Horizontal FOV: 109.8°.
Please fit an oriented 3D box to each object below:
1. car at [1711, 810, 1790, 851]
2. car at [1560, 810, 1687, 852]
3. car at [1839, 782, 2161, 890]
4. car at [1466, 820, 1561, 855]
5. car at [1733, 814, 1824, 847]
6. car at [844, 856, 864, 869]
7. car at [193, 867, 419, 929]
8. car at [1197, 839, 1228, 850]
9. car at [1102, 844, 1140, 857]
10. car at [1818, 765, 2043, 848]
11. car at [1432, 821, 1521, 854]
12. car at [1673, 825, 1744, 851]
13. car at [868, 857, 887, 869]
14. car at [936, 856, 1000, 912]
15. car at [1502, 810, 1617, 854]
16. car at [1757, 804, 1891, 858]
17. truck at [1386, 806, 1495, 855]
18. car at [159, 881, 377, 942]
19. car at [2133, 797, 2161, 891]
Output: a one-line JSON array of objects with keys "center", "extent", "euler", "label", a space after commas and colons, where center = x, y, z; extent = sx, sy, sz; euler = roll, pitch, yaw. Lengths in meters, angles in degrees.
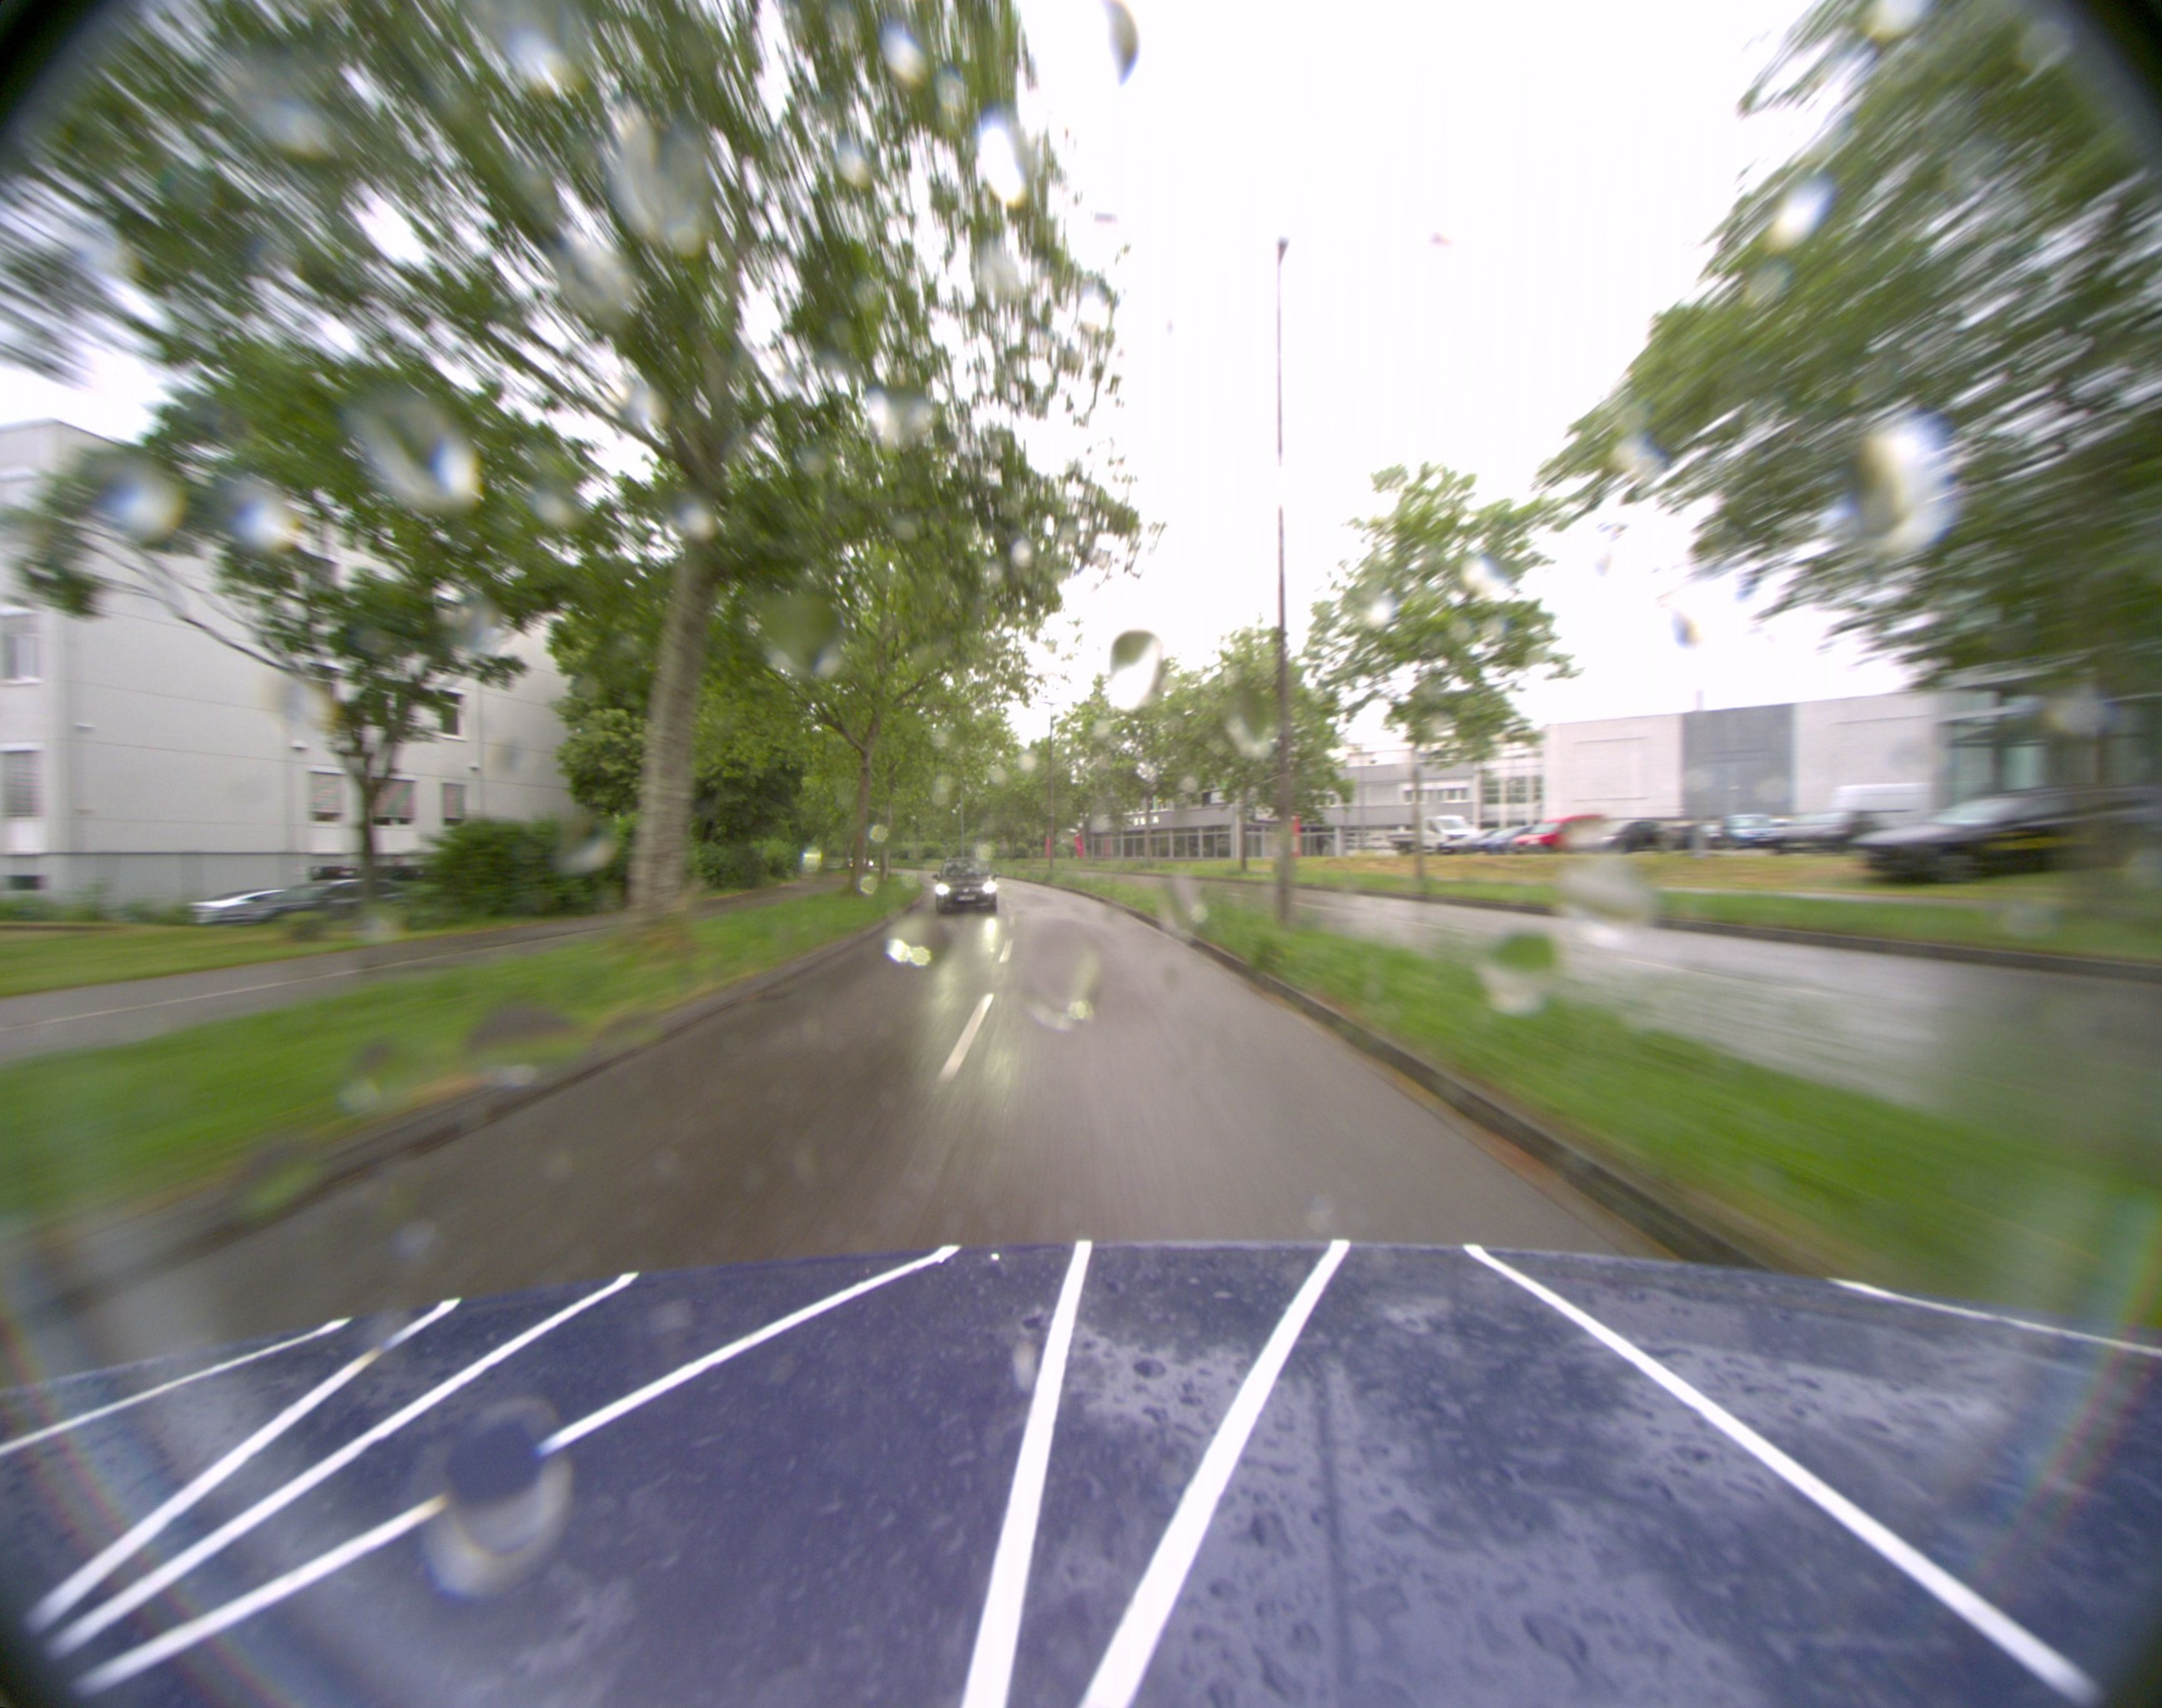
[{"center": [32.122, -1.129, 36.595], "extent": [1.816, 1.754, 4.661], "euler": [-2, 1, 28], "label": "car"}, {"center": [21.794, -0.899, 30.567], "extent": [4.009, 1.349, 1.846], "euler": [-4, 0, -11], "label": "car"}, {"center": [19.543, -0.365, 16.108], "extent": [4.428, 1.548, 1.849], "euler": [-9, 1, 23], "label": "car"}, {"center": [20.309, -0.760, 35.714], "extent": [3.534, 1.319, 1.767], "euler": [-4, 0, -11], "label": "car"}, {"center": [40.585, -1.313, 44.358], "extent": [1.766, 1.718, 4.159], "euler": [-3, -1, 7], "label": "car"}, {"center": [-28.930, 1.042, 96.892], "extent": [1.787, 1.546, 3.991], "euler": [-1, 1, -26], "label": "car"}, {"center": [-21.861, 1.177, 21.690], "extent": [1.781, 1.467, 4.116], "euler": [-2, 0, 14], "label": "car"}, {"center": [23.401, -1.643, 135.407], "extent": [5.216, 1.853, 1.797], "euler": [0, 1, 37], "label": "car"}, {"center": [4.814, -0.443, 91.495], "extent": [4.208, 1.486, 1.595], "euler": [-1, 1, -18], "label": "car"}, {"center": [32.347, -1.728, 29.236], "extent": [5.325, 2.736, 2.174], "euler": [-2, 1, 31], "label": "car"}, {"center": [19.835, -0.814, 38.161], "extent": [3.534, 1.319, 1.767], "euler": [-4, 0, -11], "label": "car"}, {"center": [37.869, -0.945, 45.972], "extent": [1.765, 1.388, 4.162], "euler": [-3, -1, 17], "label": "car"}, {"center": [-28.049, 1.206, 104.718], "extent": [1.788, 1.546, 3.991], "euler": [-2, 1, -27], "label": "car"}, {"center": [-3.474, 0.872, 23.867], "extent": [1.785, 1.546, 3.997], "euler": [-1, 1, -7], "label": "car"}, {"center": [20.891, -0.954, 33.259], "extent": [4.009, 1.548, 1.846], "euler": [-4, 0, -11], "label": "car"}, {"center": [23.002, -0.713, 23.507], "extent": [4.014, 1.349, 1.844], "euler": [-4, 0, -29], "label": "car"}, {"center": [19.986, -1.213, 42.690], "extent": [2.254, 2.331, 6.189], "euler": [-4, 0, -10], "label": "truck"}, {"center": [-24.431, 1.679, 23.076], "extent": [1.781, 1.467, 4.116], "euler": [-2, 0, 14], "label": "car"}, {"center": [18.768, -0.129, 12.076], "extent": [4.135, 1.470, 1.843], "euler": [-9, 1, -42], "label": "car"}]
